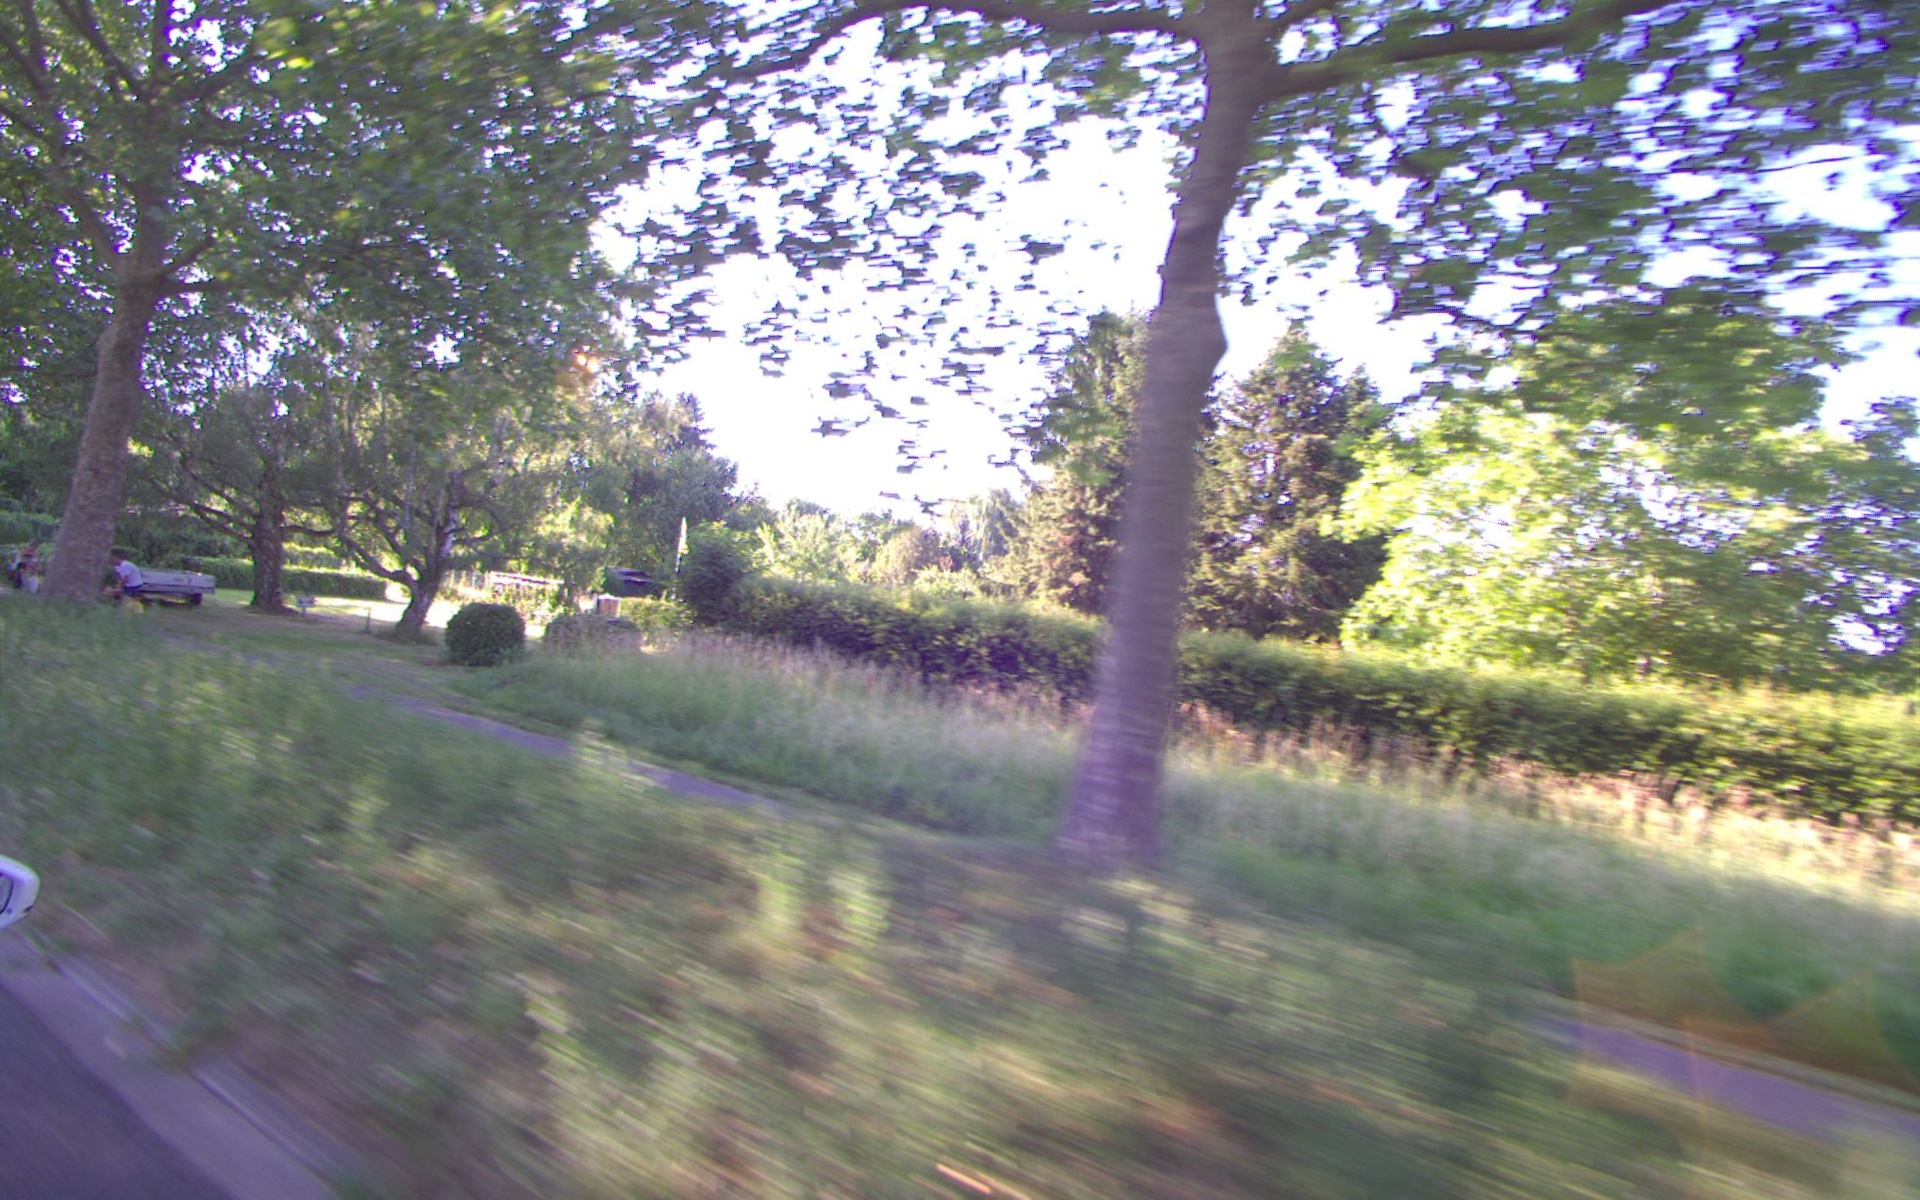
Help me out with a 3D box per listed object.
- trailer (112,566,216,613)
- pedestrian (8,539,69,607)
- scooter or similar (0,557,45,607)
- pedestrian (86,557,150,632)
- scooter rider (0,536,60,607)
[{"bbox_3d":[-23.475,-0.296,29.706,1.183,1.064,2.118,6,-2,37],"label":"trailer"},{"bbox_3d":[-23.254,-0.669,25.396,0.775,1.595,0.840,7,-1,-27],"label":"pedestrian"},{"bbox_3d":[-22.864,-0.435,24.221,0.335,1.148,1.597,7,-2,-11],"label":"scooter or similar"},{"bbox_3d":[-19.826,-0.130,23.685,1.190,1.595,0.841,6,-2,41],"label":"pedestrian"},{"bbox_3d":[-22.773,-0.682,24.542,0.773,1.595,0.842,7,-1,-18],"label":"scooter rider"}]
